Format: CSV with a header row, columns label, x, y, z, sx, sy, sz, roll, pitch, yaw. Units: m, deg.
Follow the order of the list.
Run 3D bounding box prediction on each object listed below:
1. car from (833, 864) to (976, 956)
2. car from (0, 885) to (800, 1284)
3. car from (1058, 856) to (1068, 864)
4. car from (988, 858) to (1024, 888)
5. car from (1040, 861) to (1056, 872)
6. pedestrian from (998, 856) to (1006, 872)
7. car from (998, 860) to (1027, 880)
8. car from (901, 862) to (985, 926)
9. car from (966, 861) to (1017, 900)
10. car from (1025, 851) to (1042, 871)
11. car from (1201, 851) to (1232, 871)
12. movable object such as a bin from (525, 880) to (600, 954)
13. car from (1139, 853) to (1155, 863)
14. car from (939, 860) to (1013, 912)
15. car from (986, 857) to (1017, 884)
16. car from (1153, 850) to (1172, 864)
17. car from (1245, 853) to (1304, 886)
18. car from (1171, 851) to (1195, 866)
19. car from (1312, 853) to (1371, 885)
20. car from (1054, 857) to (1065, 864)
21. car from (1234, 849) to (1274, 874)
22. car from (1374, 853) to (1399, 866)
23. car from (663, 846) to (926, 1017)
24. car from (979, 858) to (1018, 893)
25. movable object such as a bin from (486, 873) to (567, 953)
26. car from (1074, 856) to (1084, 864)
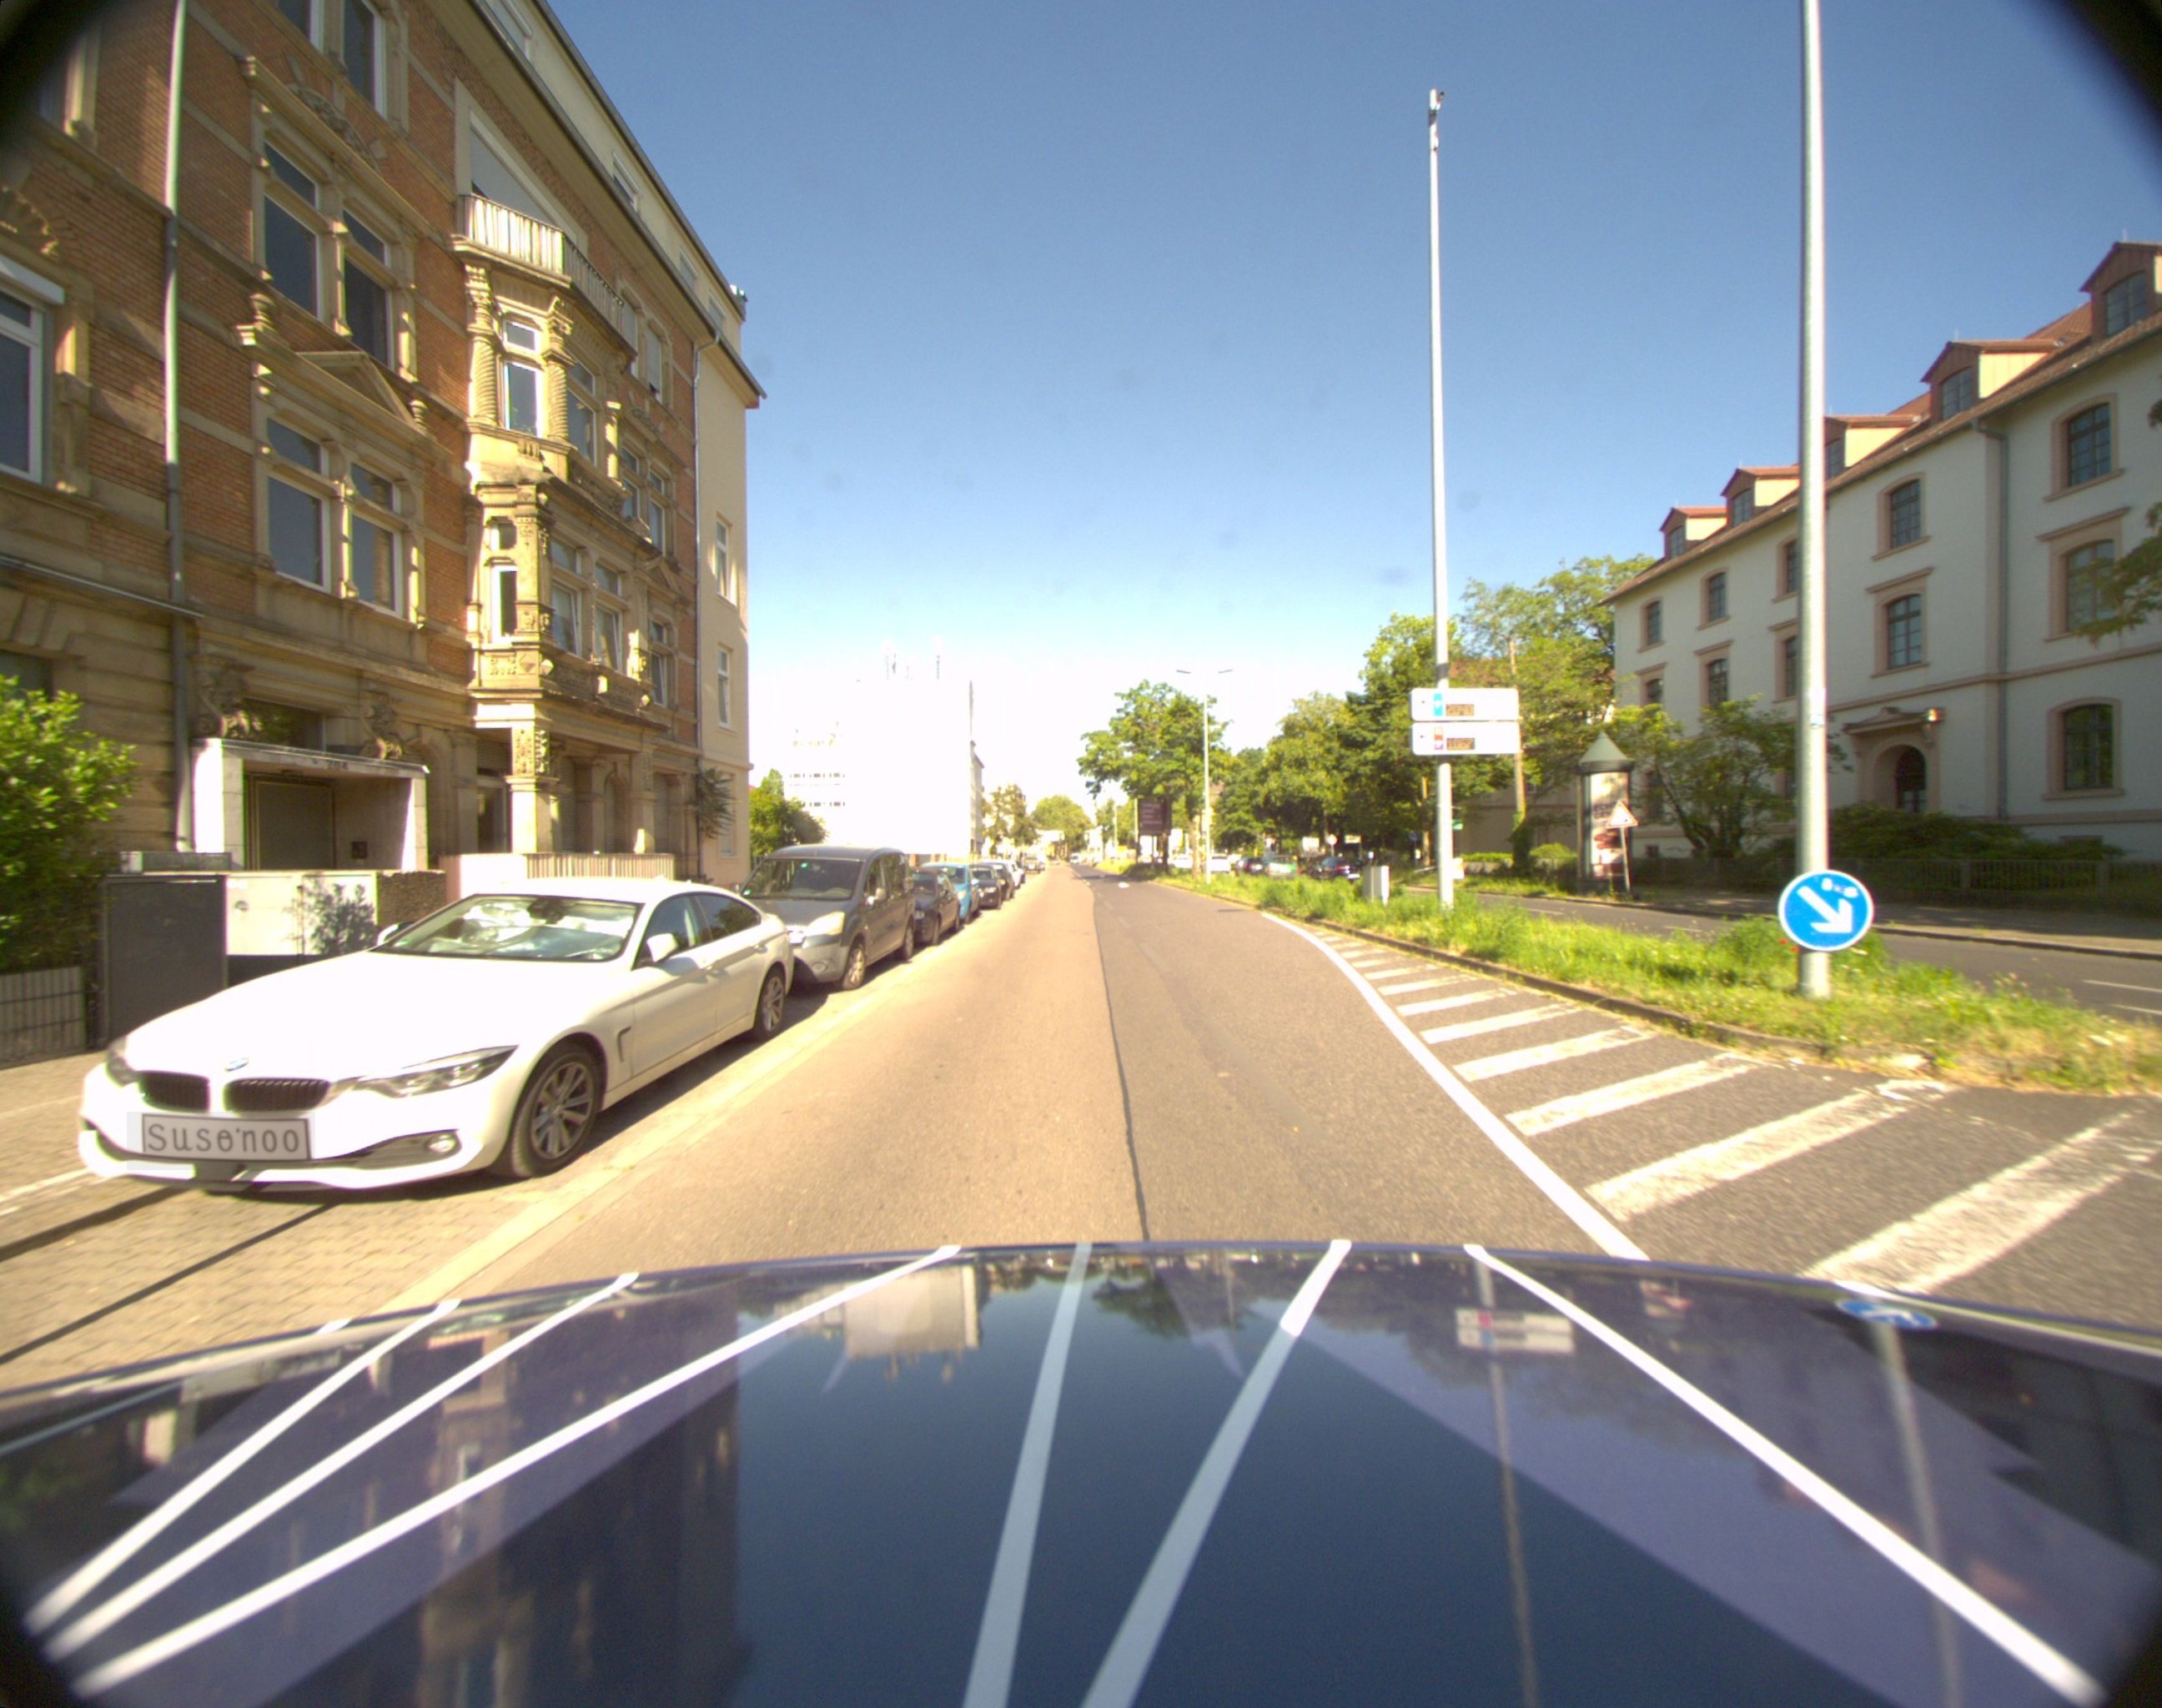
label,x,y,z,sx,sy,sz,roll,pitch,yaw
car,-3.264,0.971,14.938,1.672,1.459,4.274,-2,0,1
car,-3.509,1.005,5.143,1.714,1.417,4.205,0,0,-1
car,-4.141,1.391,177.934,1.882,1.511,3.999,-2,3,6
car,-3.886,0.944,39.847,1.613,1.437,3.658,2,0,-2
car,-4.332,1.712,101.084,1.641,1.439,4.158,-1,-1,4
pedestrian,-8.050,0.993,77.444,0.745,1.574,0.896,-2,1,-1
car,-4.402,0.996,49.524,1.672,1.175,3.900,2,0,-3
car,-3.495,0.980,19.750,1.626,1.462,3.298,-2,0,-2
car,-3.425,1.003,29.689,1.672,1.385,3.774,-1,0,-2
car,-4.963,0.699,79.634,1.665,2.002,4.775,0,1,-1
car,11.086,0.555,62.345,1.905,1.616,4.537,0,0,3
movable object such as a bin,-8.712,1.054,12.797,0.760,1.150,0.608,-2,3,1
car,9.879,0.566,113.869,1.800,1.510,4.257,-1,0,-2
car,-3.320,0.964,24.905,1.940,1.510,4.483,-1,0,-2
car,-4.691,0.958,45.025,1.673,1.451,3.984,2,0,-5
car,10.285,0.351,96.055,1.800,1.510,4.256,-2,2,-1
car,9.353,0.724,37.101,1.642,1.510,4.257,-1,0,-2
car,10.640,0.485,79.802,1.843,1.510,4.665,-1,0,0
car,13.749,0.739,40.349,1.800,1.510,4.424,-2,0,3
car,-4.817,1.397,168.945,1.882,1.510,4.001,-2,1,6
car,11.405,0.446,50.294,1.800,1.510,4.086,0,1,1
car,32.727,0.581,81.541,1.769,1.315,3.503,-1,0,9
car,-3.552,0.844,10.404,1.823,1.833,4.364,-1,0,1
car,-3.783,0.972,35.348,1.673,1.510,3.660,-1,0,-4
movable object such as a bin,-8.648,0.914,11.877,0.724,1.150,0.608,-2,3,1
car,-0.450,1.352,170.201,1.882,1.511,3.999,-2,3,6
